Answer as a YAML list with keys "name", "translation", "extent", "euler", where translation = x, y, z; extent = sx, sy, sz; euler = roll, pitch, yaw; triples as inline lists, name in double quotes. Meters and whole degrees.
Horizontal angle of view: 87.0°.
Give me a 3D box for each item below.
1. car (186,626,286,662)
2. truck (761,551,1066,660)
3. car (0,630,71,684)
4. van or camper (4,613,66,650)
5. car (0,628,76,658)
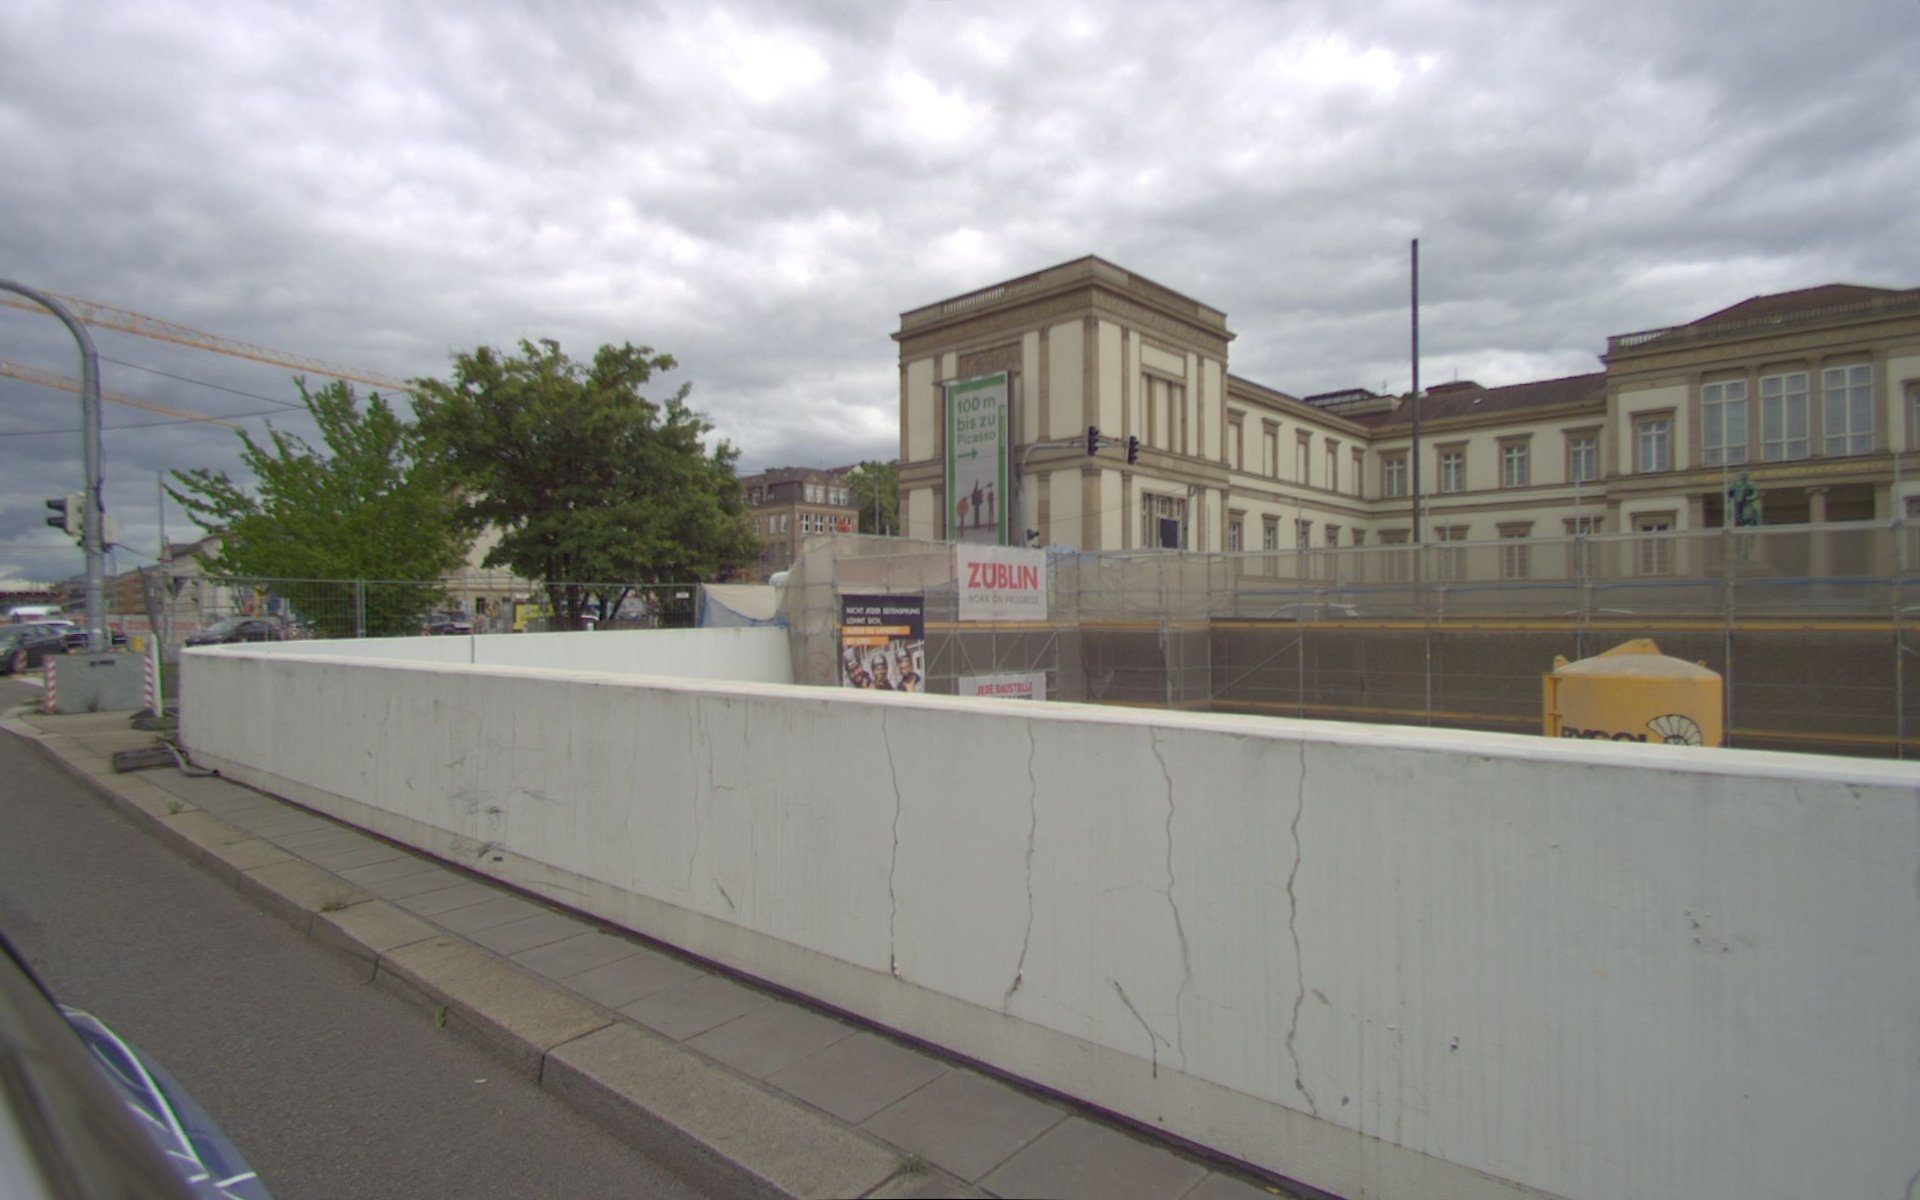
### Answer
- name: "car"
  translation: [-32.809, 1.975, 45.999]
  extent: [1.848, 1.431, 4.109]
  euler: [-1, 0, -4]
- name: "truck"
  translation: [-2.757, 0.489, 45.009]
  extent: [16.616, 4.114, 2.885]
  euler: [-2, -3, 44]
- name: "car"
  translation: [-27.636, 1.628, 29.141]
  extent: [1.822, 1.431, 4.118]
  euler: [-1, 0, -23]
- name: "van or camper"
  translation: [-60.033, 2.020, 65.752]
  extent: [1.965, 2.244, 4.013]
  euler: [0, 0, -28]
- name: "car"
  translation: [-50.397, 2.314, 54.488]
  extent: [1.691, 1.586, 4.017]
  euler: [-4, -4, 40]
